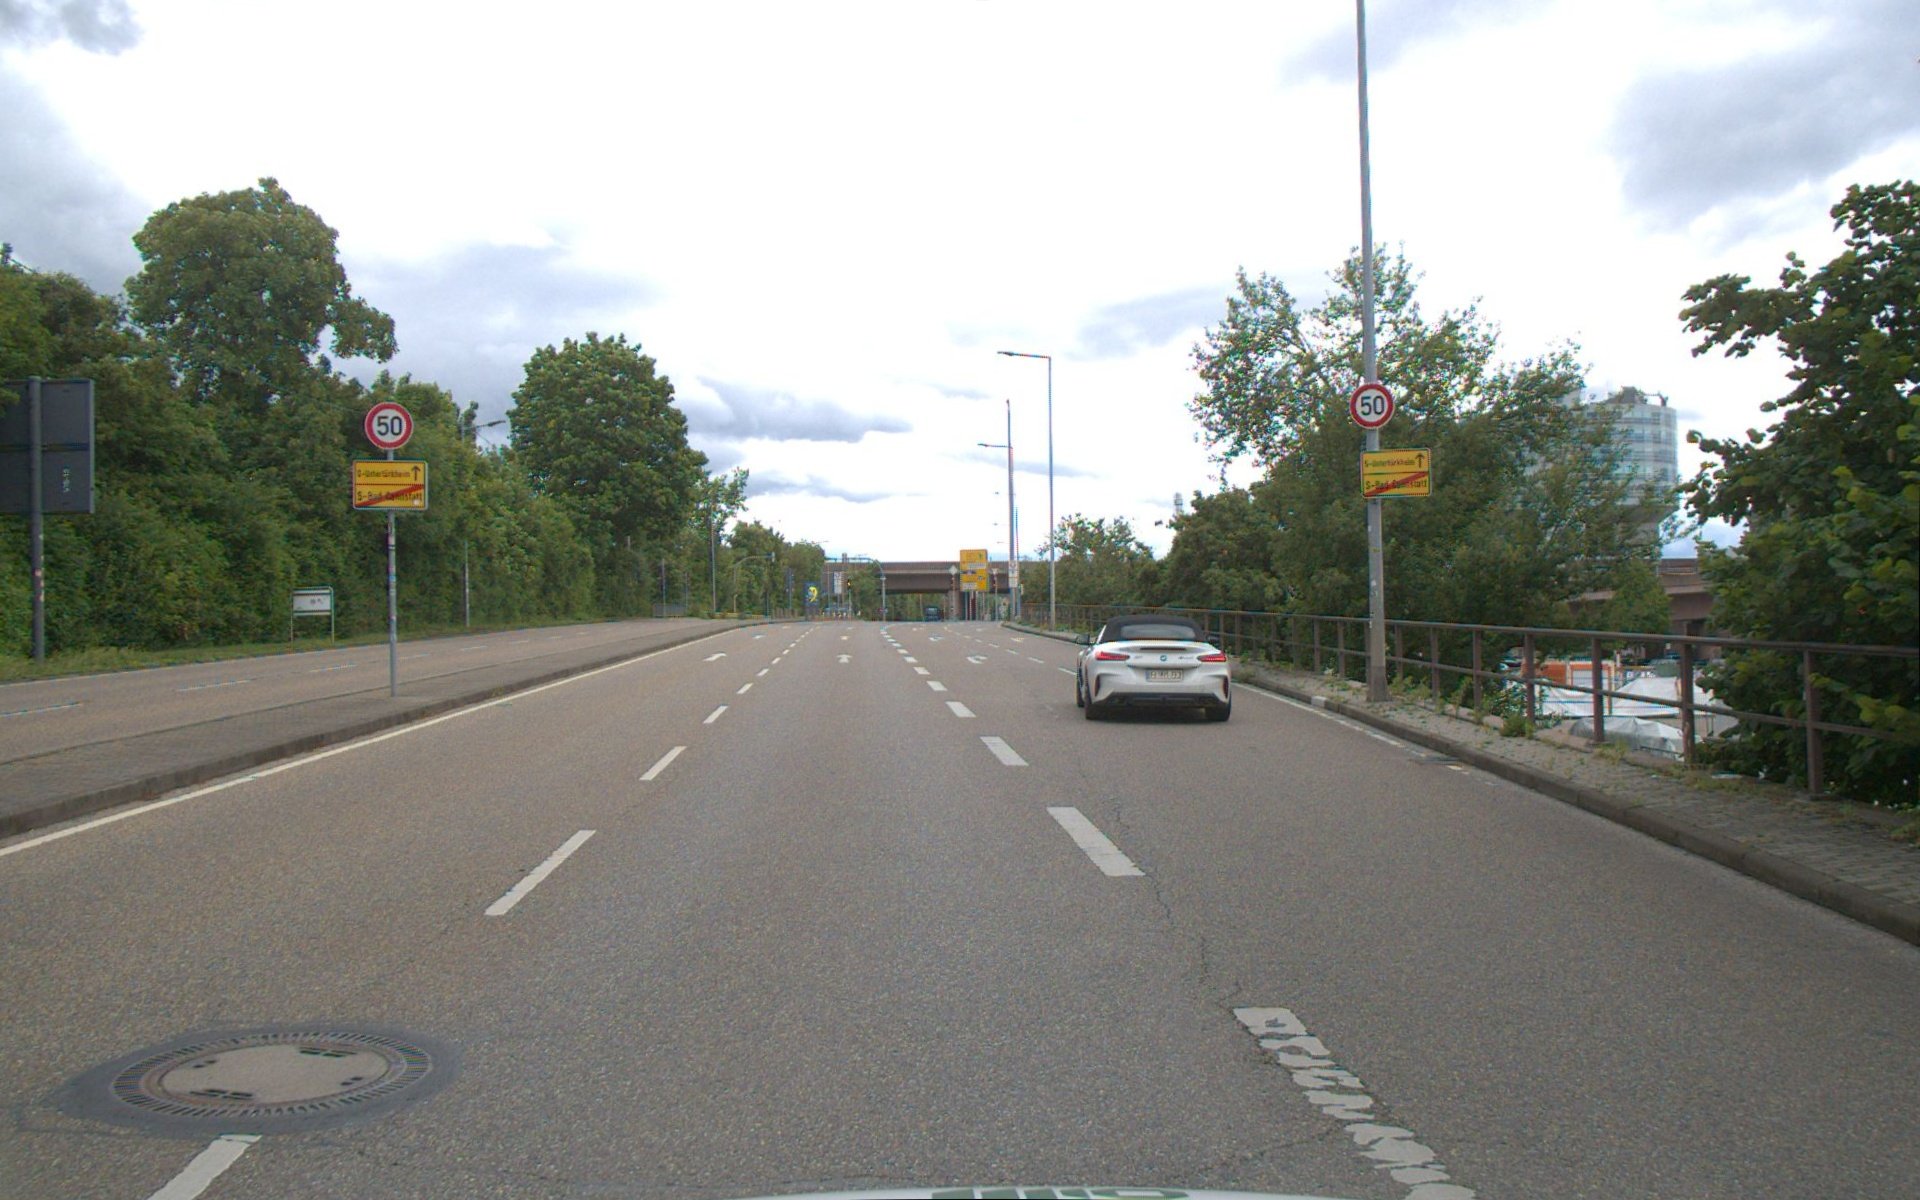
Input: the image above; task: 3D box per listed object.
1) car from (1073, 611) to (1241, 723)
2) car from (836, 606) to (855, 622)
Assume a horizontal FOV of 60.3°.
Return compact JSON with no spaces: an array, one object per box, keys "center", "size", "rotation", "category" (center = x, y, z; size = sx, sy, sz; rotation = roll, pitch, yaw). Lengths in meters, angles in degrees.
[{"center":[2.527,0.875,22.009],"size":[1.836,1.332,3.873],"rotation":[1,-2,1],"category":"car"},{"center":[-12.255,1.509,177.164],"size":[1.735,1.661,3.824],"rotation":[1,-1,-1],"category":"car"}]
